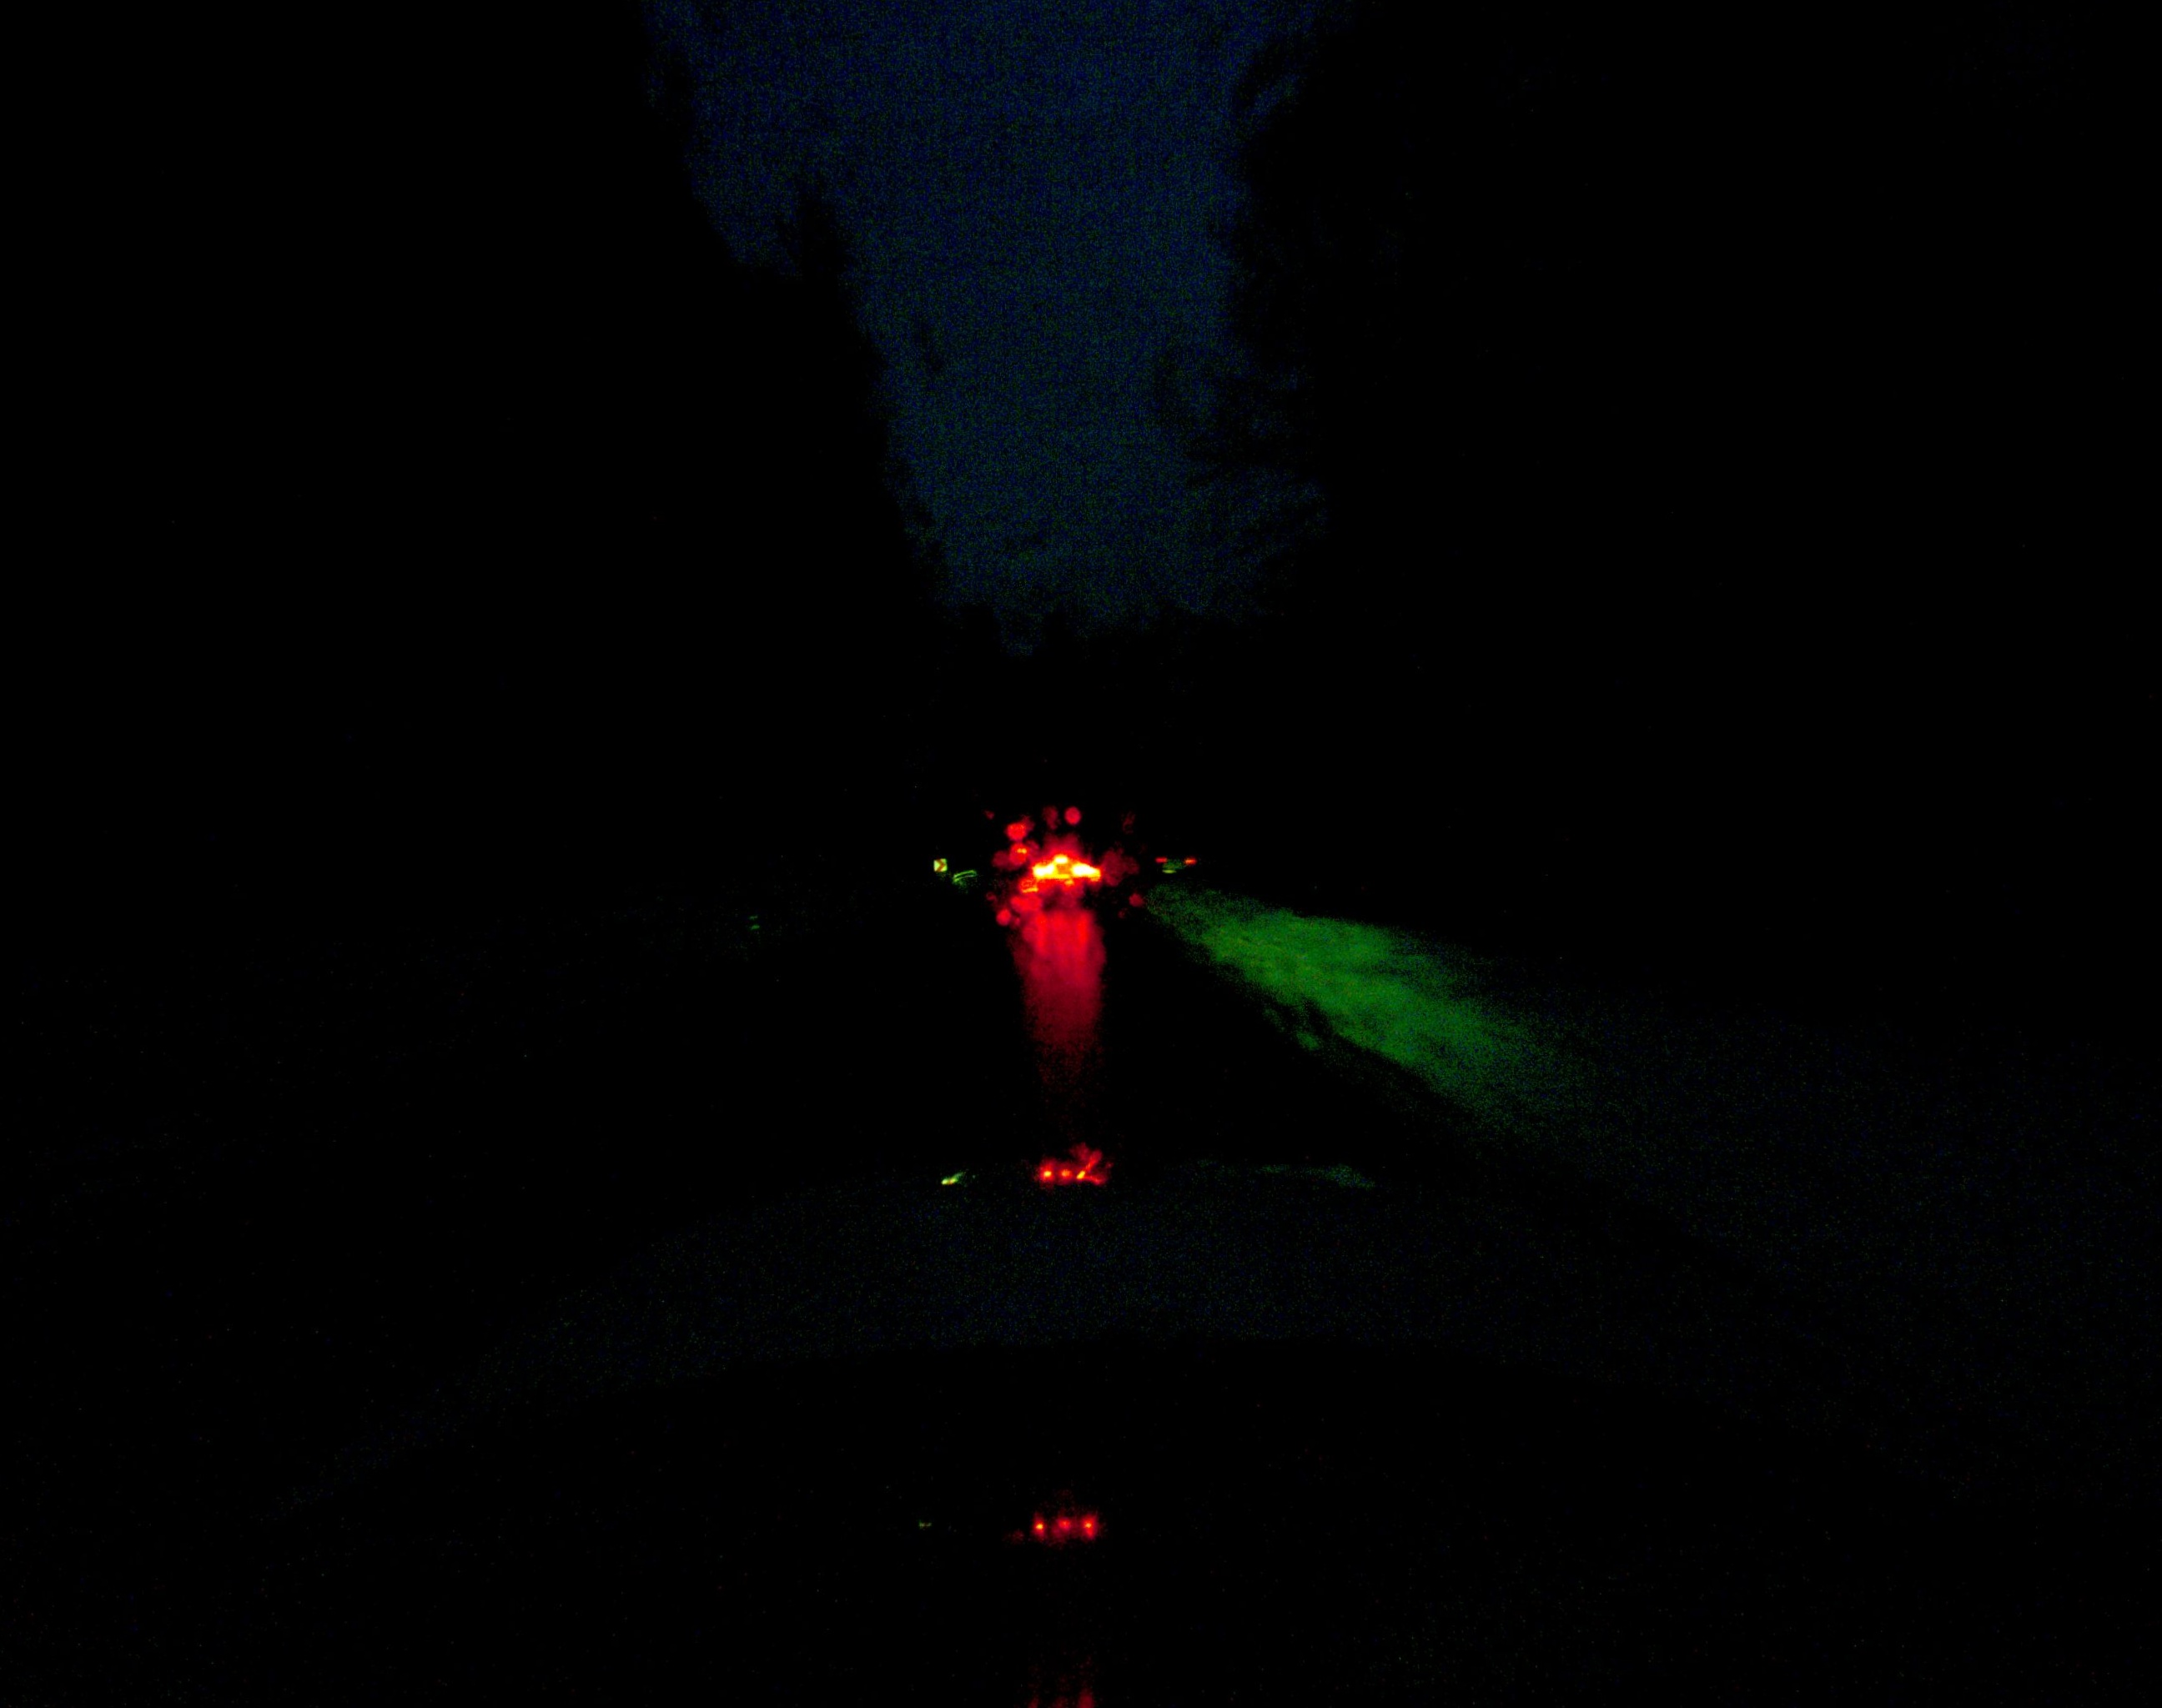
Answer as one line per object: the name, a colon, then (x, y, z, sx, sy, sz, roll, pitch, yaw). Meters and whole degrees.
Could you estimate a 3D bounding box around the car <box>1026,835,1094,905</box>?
car: (-0.610, 0.507, 26.719, 1.987, 2.052, 4.000, -2, -1, 0)

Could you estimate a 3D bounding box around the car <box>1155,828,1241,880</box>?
car: (6.428, -0.055, 44.375, 2.231, 2.645, 5.037, 2, 2, 40)
